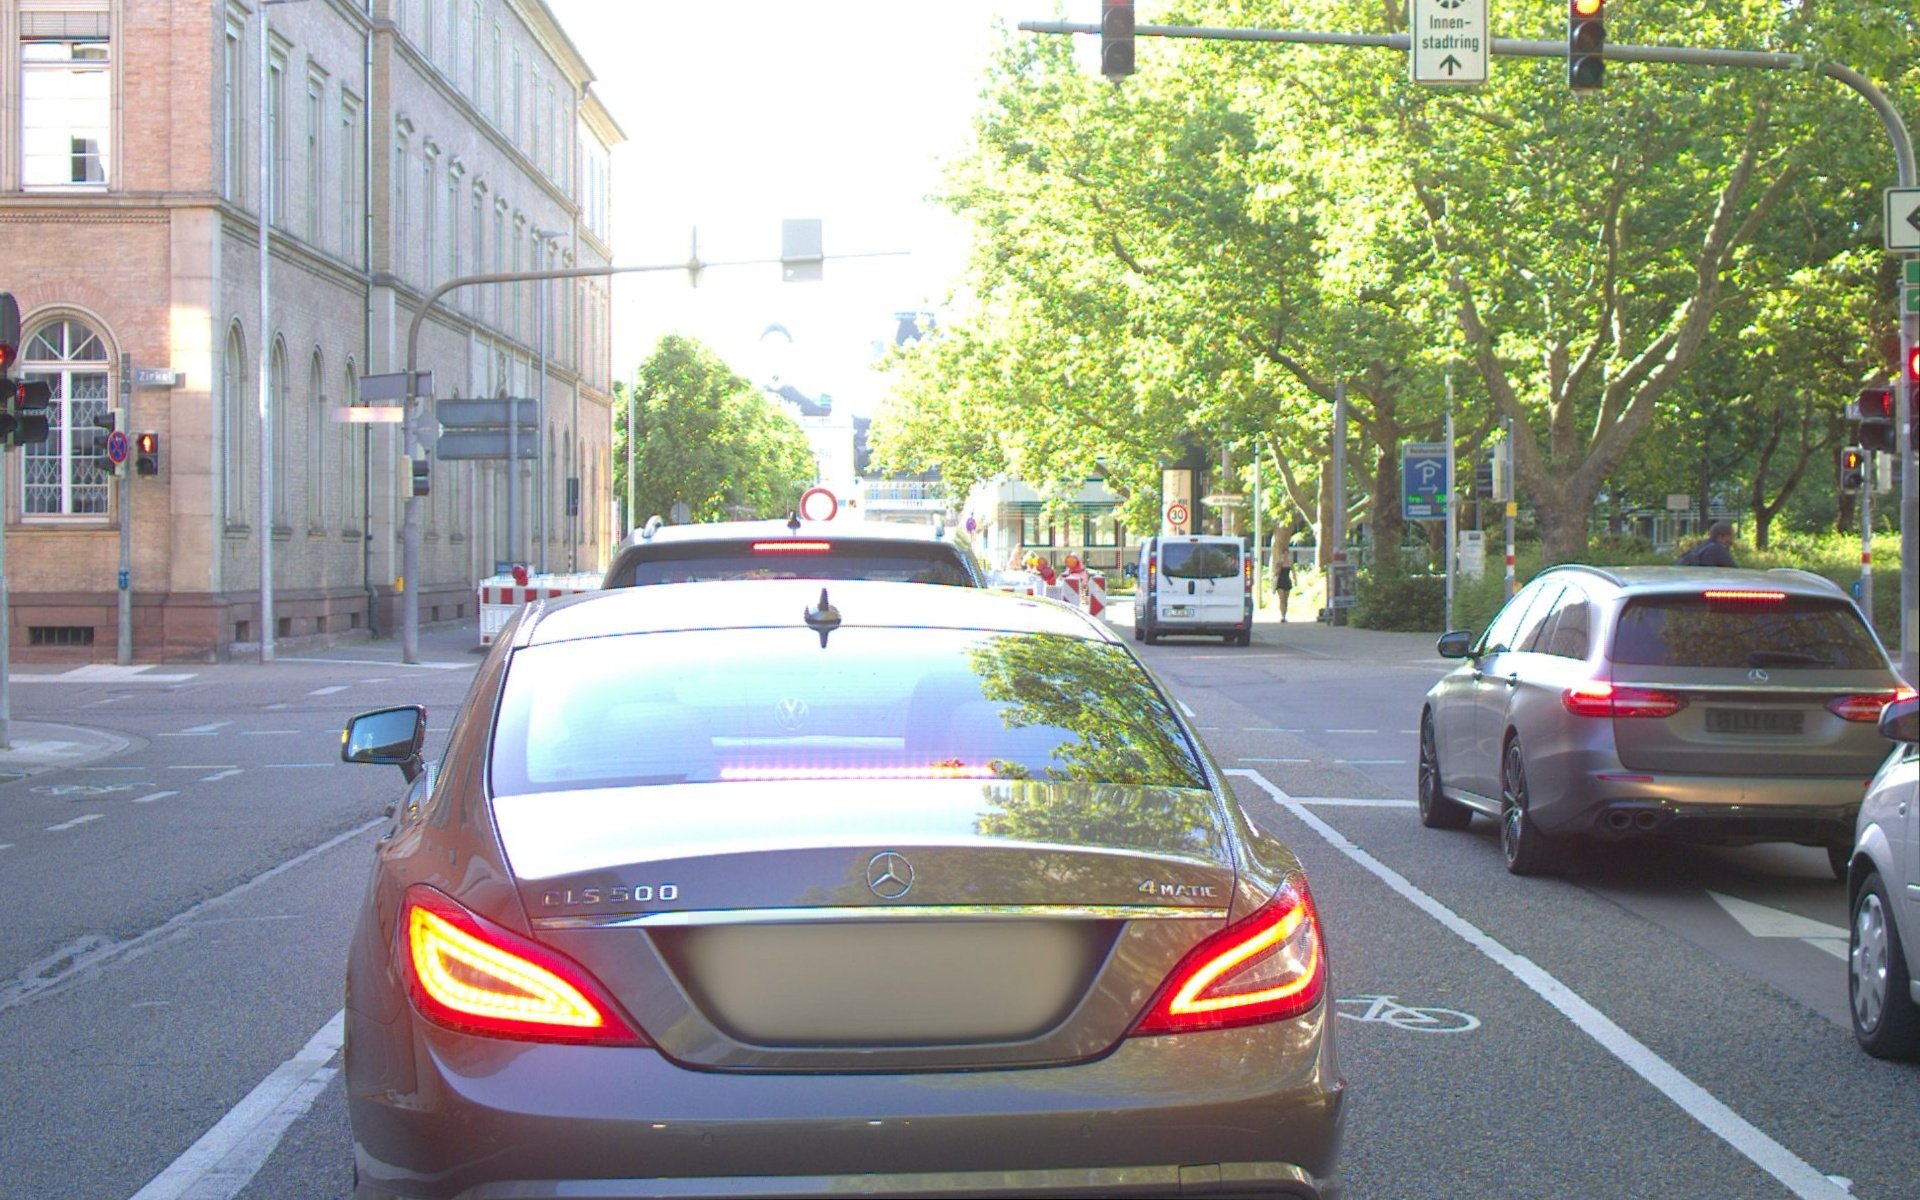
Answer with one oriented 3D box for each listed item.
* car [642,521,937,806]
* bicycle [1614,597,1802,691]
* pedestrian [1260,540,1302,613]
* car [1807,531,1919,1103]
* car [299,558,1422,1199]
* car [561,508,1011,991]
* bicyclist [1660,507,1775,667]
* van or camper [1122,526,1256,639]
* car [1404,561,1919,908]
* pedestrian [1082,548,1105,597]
[{"bbox_3d":[-1.077,0.361,23.249,1.820,1.756,4.000,0,1,-1],"label":"car"},{"bbox_3d":[7.784,0.453,35.808,1.793,0.943,0.614,1,1,-6],"label":"bicycle"},{"bbox_3d":[7.023,-0.518,75.309,0.830,1.601,0.651,1,1,-1],"label":"pedestrian"},{"bbox_3d":[3.527,0.621,9.070,1.701,1.597,3.859,0,1,1],"label":"car"},{"bbox_3d":[-0.431,0.650,7.666,1.803,1.451,4.352,0,1,-8],"label":"car"},{"bbox_3d":[-0.683,0.481,13.690,1.517,1.641,3.881,1,1,-3],"label":"car"},{"bbox_3d":[7.885,-0.138,35.811,1.014,1.637,0.608,0,1,-6],"label":"bicyclist"},{"bbox_3d":[4.052,-0.345,61.482,1.993,1.935,4.594,0,1,-1],"label":"van or camper"},{"bbox_3d":[3.549,0.568,17.402,1.913,1.459,4.669,1,1,-1],"label":"car"},{"bbox_3d":[3.917,-0.801,101.170,0.648,1.428,0.659,0,1,-1],"label":"pedestrian"}]
